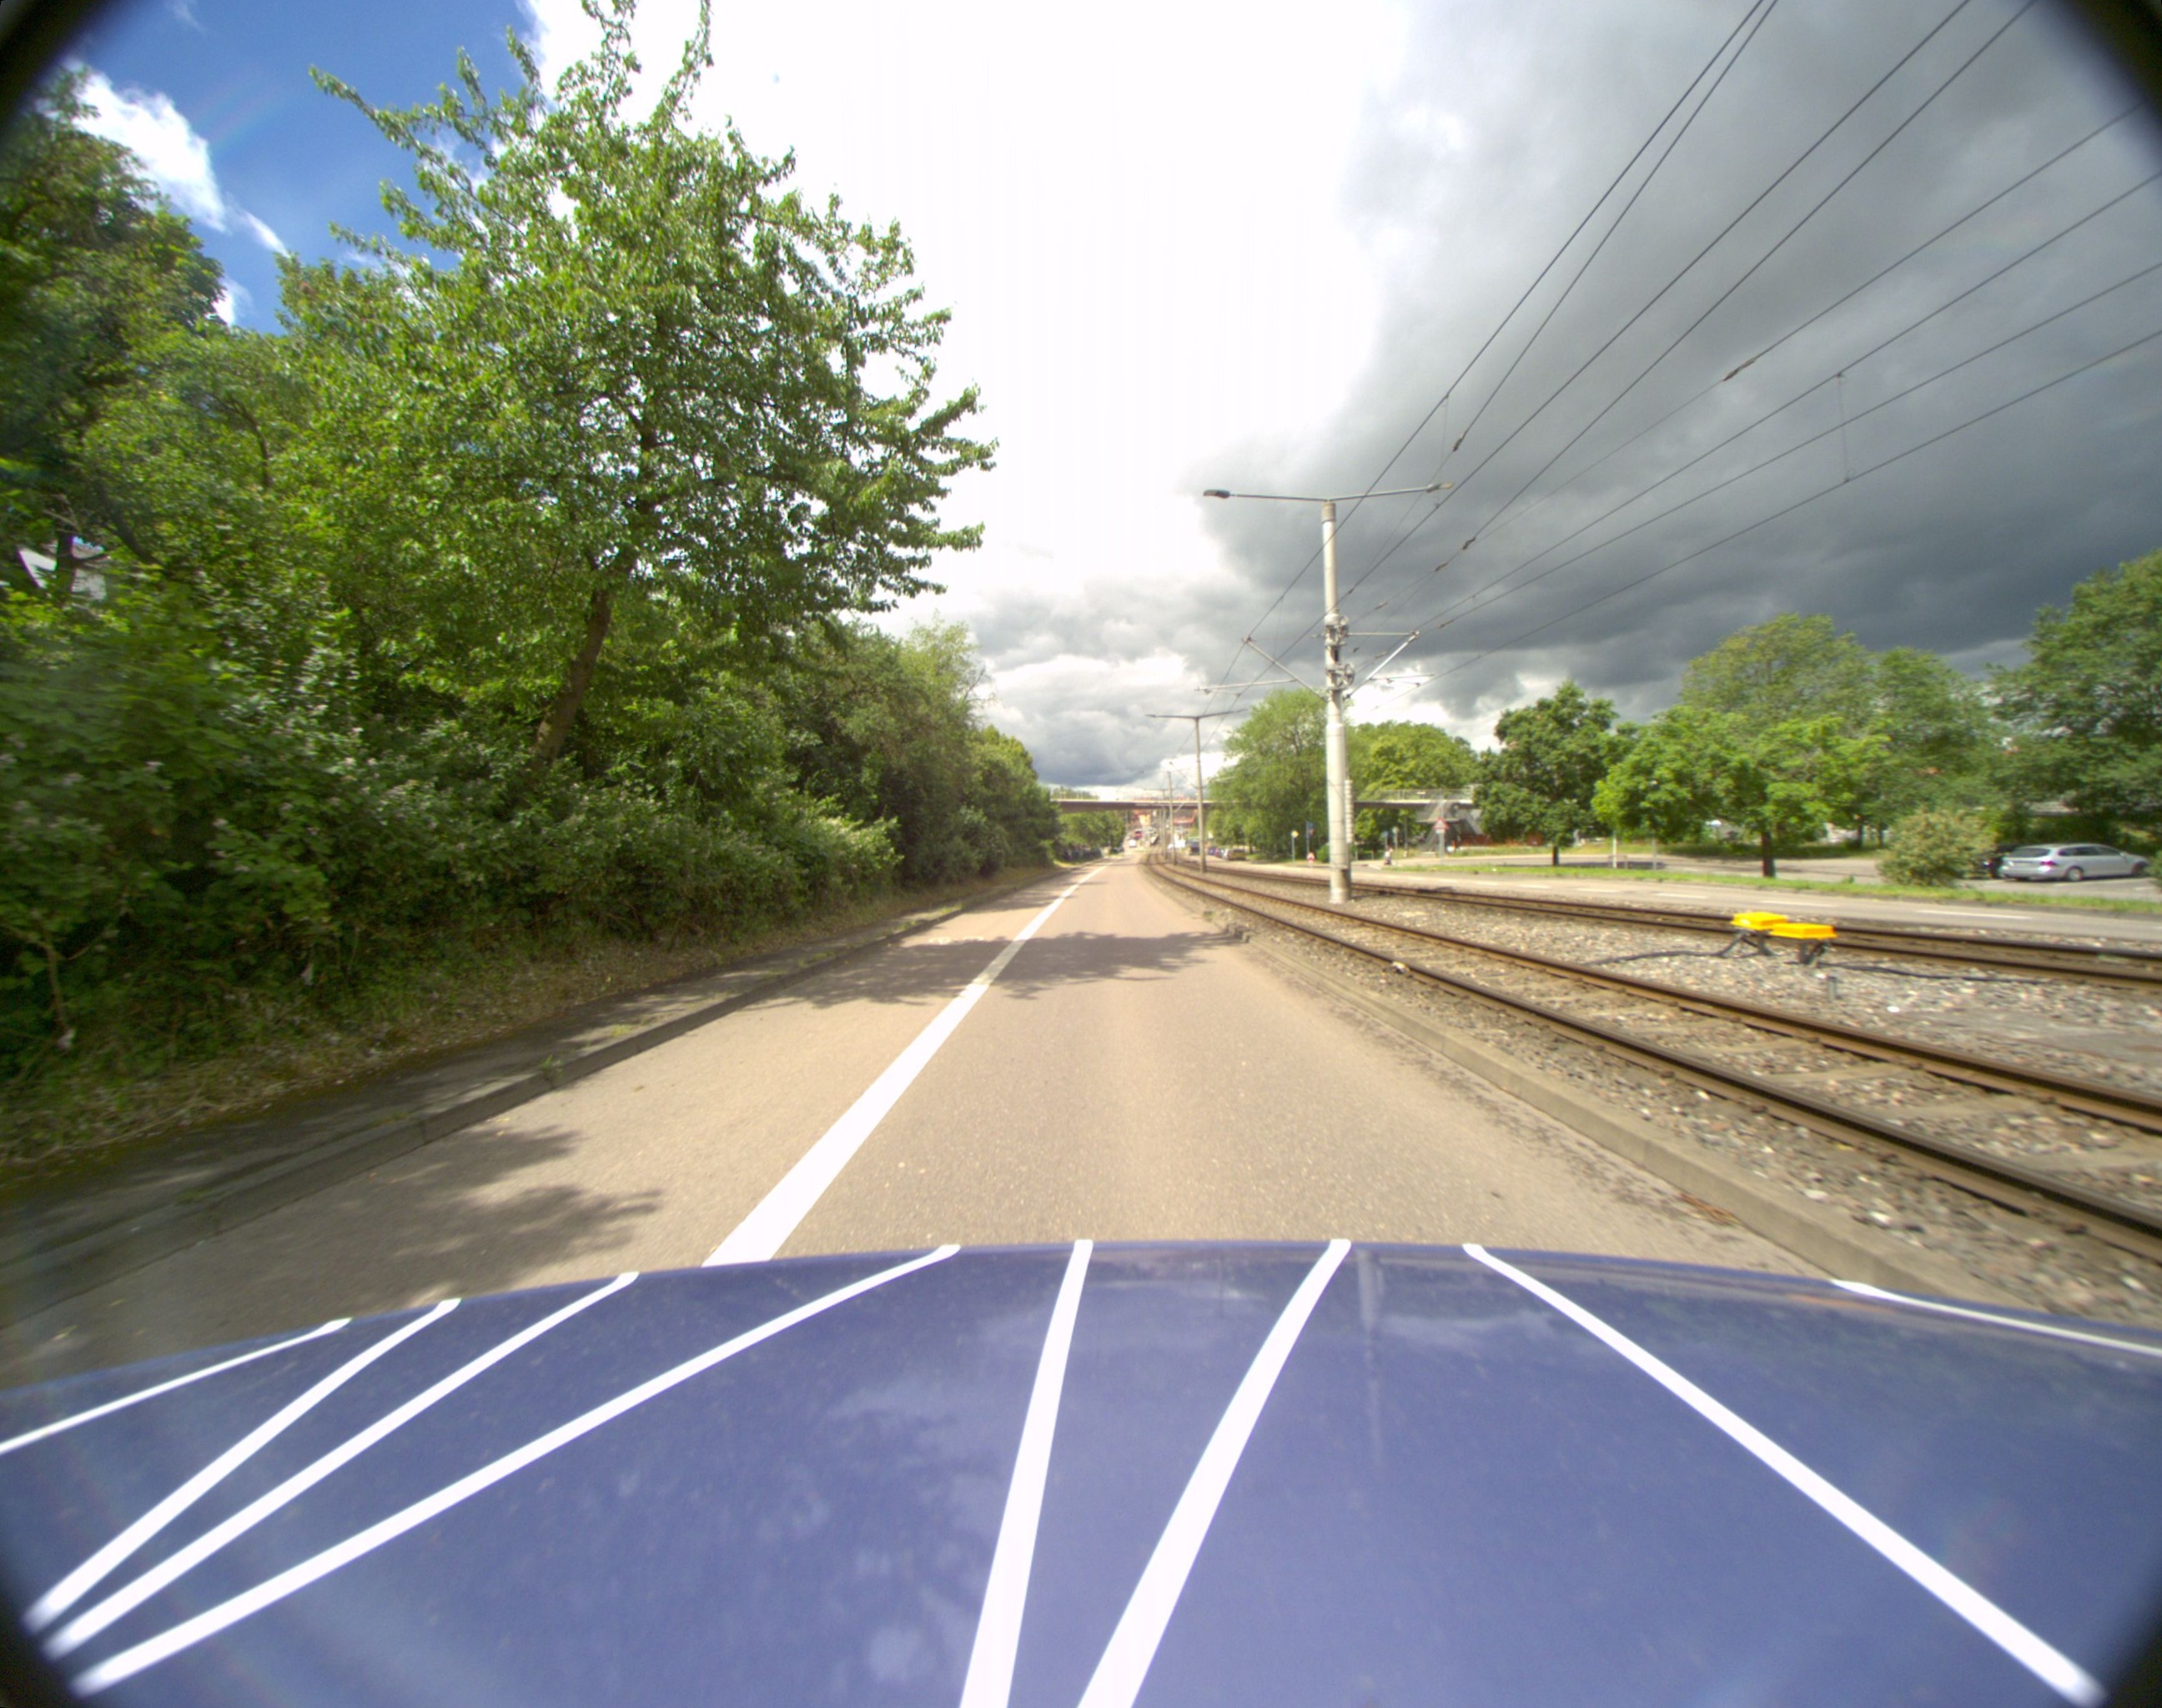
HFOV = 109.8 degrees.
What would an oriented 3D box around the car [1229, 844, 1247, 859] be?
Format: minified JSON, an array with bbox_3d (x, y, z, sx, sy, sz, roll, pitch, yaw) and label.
[{"bbox_3d":[18.905,-0.305,91.532,1.692,1.442,3.898,-4,2,7],"label":"car"}]

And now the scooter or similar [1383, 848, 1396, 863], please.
[{"bbox_3d":[25.480,0.139,62.751,0.712,1.141,0.788,-4,3,8],"label":"scooter or similar"}]

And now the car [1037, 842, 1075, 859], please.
[{"bbox_3d":[-3.236,-0.503,99.666,4.533,1.662,2.000,6,4,6],"label":"car"}]

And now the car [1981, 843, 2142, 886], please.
[{"bbox_3d":[38.639,0.396,30.017,3.876,1.383,1.574,-4,2,9],"label":"car"}]

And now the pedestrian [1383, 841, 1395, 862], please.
[{"bbox_3d":[25.819,-0.228,63.628,0.662,1.746,0.718,-4,3,7],"label":"pedestrian"}]

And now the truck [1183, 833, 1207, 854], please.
[{"bbox_3d":[20.121,-1.899,134.971,2.878,3.301,9.028,-4,2,1],"label":"truck"}]
